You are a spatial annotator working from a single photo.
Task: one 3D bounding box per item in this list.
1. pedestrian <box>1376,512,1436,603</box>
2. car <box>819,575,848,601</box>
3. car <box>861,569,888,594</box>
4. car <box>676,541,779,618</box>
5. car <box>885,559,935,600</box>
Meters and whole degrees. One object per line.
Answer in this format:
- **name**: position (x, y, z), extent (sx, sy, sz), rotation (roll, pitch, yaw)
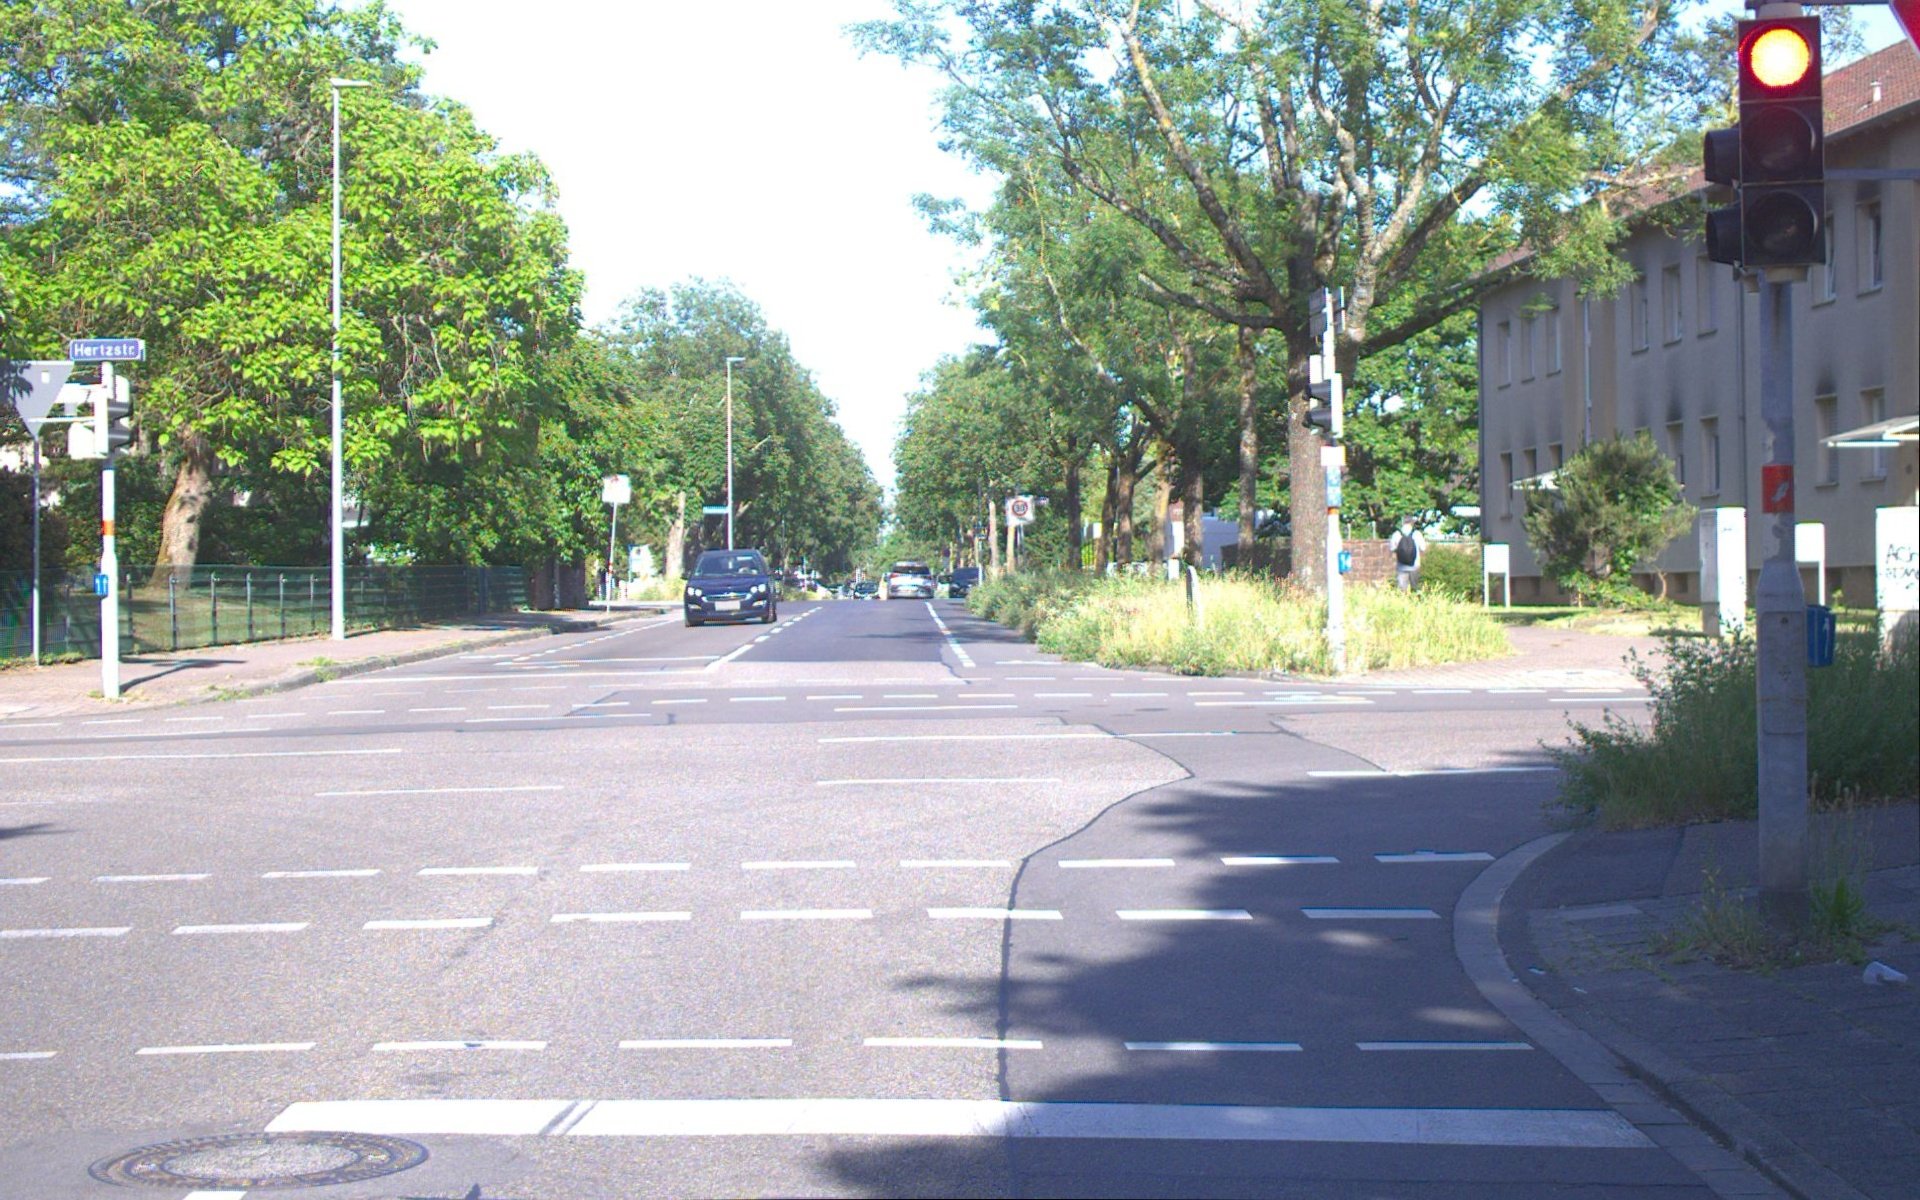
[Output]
- **pedestrian**: position (7.470, -0.722, 57.601), extent (0.842, 1.488, 0.924), rotation (1, 1, -1)
- **car**: position (-8.299, -0.826, 226.291), extent (1.758, 1.619, 3.269), rotation (-1, 2, 1)
- **car**: position (-5.938, -1.279, 239.734), extent (1.758, 1.619, 3.269), rotation (-1, 2, 1)
- **car**: position (-4.471, -0.418, 66.566), extent (1.711, 1.381, 3.471), rotation (-1, 2, 1)
- **car**: position (-1.871, -0.780, 129.586), extent (1.844, 1.456, 3.530), rotation (-1, 2, -1)
